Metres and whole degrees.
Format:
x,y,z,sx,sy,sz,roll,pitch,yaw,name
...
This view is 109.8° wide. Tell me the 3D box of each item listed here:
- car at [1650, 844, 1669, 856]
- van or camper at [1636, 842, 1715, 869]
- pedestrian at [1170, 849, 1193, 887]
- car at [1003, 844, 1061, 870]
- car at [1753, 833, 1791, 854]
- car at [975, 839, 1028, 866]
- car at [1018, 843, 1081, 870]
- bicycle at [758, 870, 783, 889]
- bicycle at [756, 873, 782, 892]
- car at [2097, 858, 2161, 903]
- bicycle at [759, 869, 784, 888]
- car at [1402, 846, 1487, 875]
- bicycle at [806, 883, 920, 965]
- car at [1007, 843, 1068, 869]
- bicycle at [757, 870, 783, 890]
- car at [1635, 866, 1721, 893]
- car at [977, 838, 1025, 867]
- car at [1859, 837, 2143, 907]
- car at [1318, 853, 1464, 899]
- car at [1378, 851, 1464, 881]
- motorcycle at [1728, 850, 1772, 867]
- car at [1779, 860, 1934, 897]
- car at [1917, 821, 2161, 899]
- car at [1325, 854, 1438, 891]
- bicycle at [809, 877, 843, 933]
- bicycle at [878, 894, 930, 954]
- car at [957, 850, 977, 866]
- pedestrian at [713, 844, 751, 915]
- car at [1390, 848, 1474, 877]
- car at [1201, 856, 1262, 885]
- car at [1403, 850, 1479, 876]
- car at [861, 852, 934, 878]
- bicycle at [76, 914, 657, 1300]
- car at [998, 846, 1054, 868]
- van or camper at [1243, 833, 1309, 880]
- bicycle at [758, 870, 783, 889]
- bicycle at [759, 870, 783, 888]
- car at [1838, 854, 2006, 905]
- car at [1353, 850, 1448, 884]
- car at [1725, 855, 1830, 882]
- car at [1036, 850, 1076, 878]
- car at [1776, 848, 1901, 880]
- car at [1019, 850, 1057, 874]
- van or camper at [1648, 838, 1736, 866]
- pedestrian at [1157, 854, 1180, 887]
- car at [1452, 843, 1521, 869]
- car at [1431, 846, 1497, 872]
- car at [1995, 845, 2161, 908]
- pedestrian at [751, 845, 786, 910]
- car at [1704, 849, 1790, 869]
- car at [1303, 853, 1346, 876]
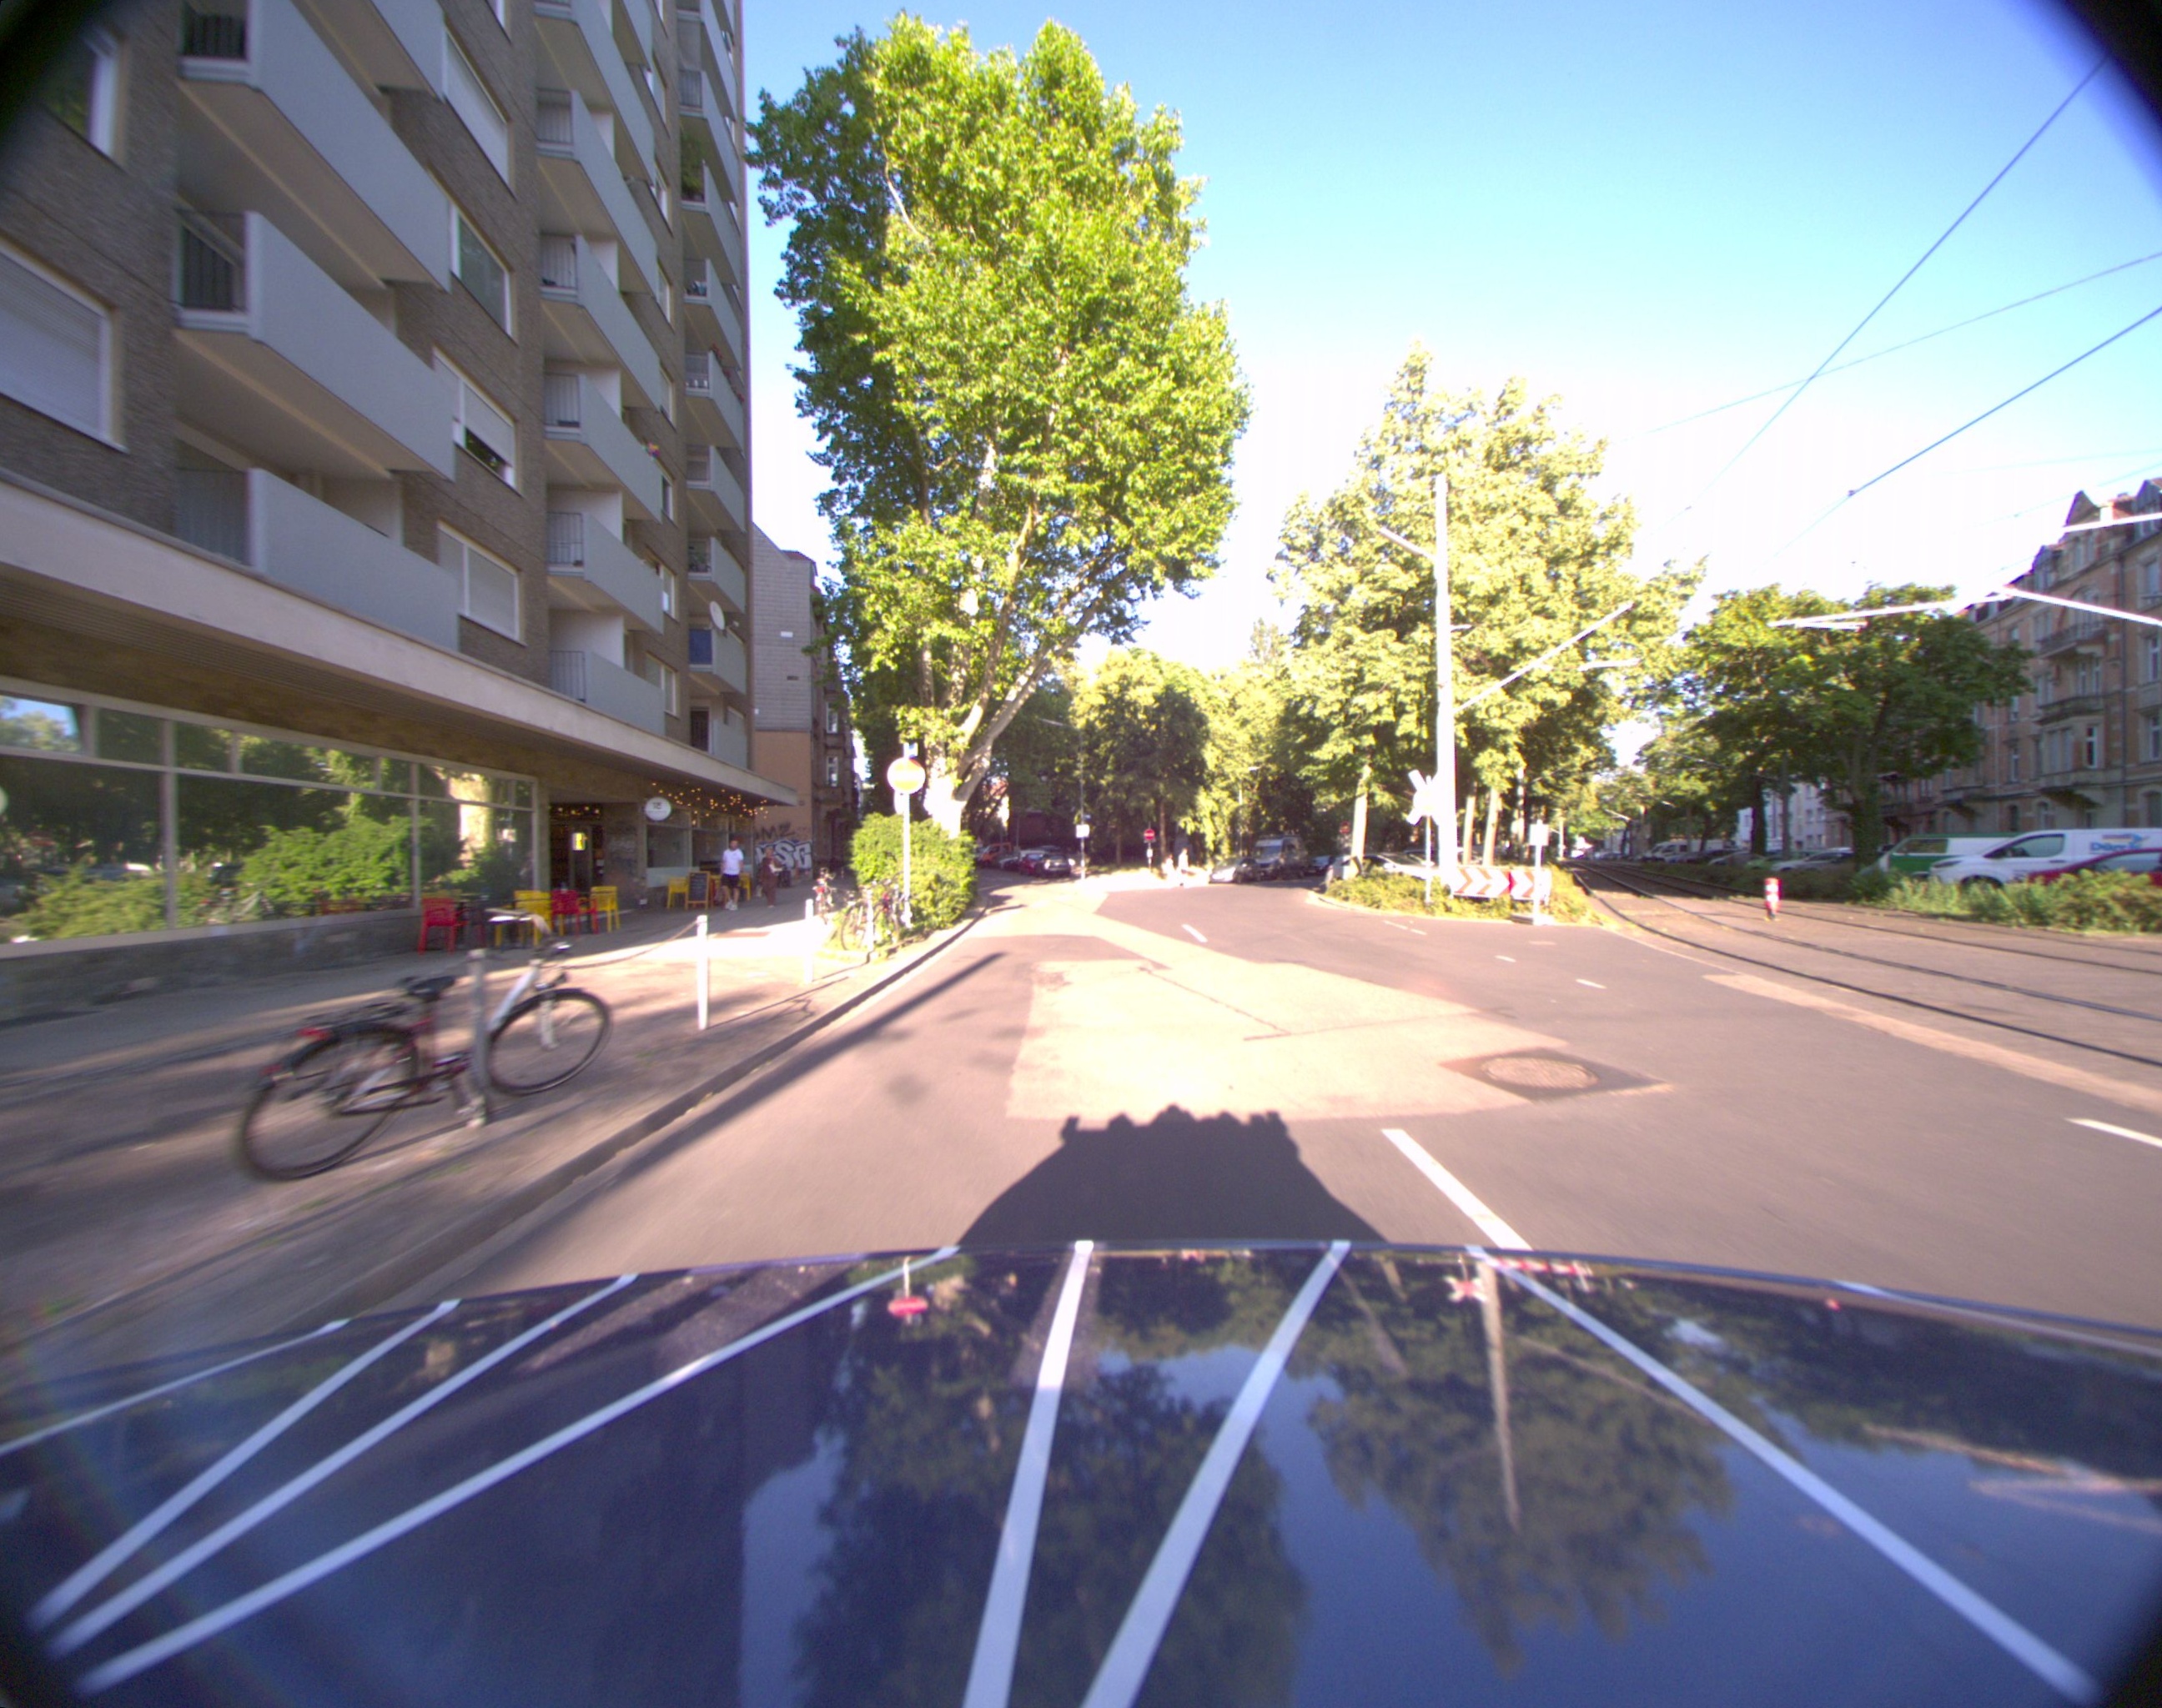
x,y,z,sx,sy,sz,roll,pitch,yaw,name
100.200,-0.741,131.632,1.995,2.002,4.007,0,0,28,car
58.026,0.113,74.268,2.004,2.454,5.662,0,1,-33,van or camper
4.749,0.631,35.779,0.812,1.771,0.718,1,1,38,pedestrian
-4.015,0.224,61.548,4.402,1.766,1.784,-4,1,-11,car
68.400,-1.068,75.249,1.994,2.002,4.008,0,1,31,car
-7.429,-0.151,70.798,4.644,2.399,1.604,0,1,-17,car
-2.346,0.211,56.290,4.402,1.698,1.732,-4,1,-11,car
-12.540,1.023,30.718,0.896,0.737,0.272,-1,1,-17,bicycle
-12.233,1.105,29.784,0.896,0.737,0.272,-1,1,-17,bicycle
39.220,0.928,27.269,1.852,1.510,4.067,0,0,31,car
-12.763,1.016,31.330,0.896,0.737,0.272,-1,1,-17,bicycle
24.748,0.479,51.947,1.990,1.770,4.992,-2,-1,-29,car
-3.211,0.996,11.412,0.639,1.016,2.090,0,0,16,bicycle
-3.402,0.142,58.773,4.402,1.766,1.784,-4,1,-11,car
-12.316,1.031,30.091,0.896,0.737,0.272,-1,1,-17,bicycle
39.323,1.641,50.106,2.003,1.569,3.990,0,1,-32,car
-8.231,-0.141,78.349,4.644,2.950,1.604,0,1,-17,car
25.835,0.437,21.579,2.088,1.754,4.825,0,0,-29,car
10.617,0.757,26.277,1.778,1.421,4.283,-2,0,-40,car
18.436,0.660,41.400,1.835,1.430,3.864,-2,-1,-32,car
37.919,0.263,43.083,1.022,0.949,1.722,0,0,-37,motorcycle
32.555,0.984,32.052,1.596,1.373,4.280,0,0,-26,car
24.493,0.132,18.692,2.089,1.754,5.046,0,0,-35,car
12.551,0.785,31.861,1.778,1.356,3.975,-2,-2,-41,car
-5.037,0.989,15.034,0.349,1.032,1.052,0,0,-1,bicycle
-3.112,1.210,13.466,0.544,0.899,1.735,0,0,-1,bicycle
-11.778,0.389,78.402,1.608,1.459,3.994,1,1,-14,car
-8.857,0.628,19.286,0.686,1.763,0.635,0,1,-5,pedestrian
21.701,0.565,47.099,1.944,1.616,4.350,-2,-1,-29,car
8.295,0.889,41.642,1.681,1.437,3.880,-3,-1,37,car
23.343,0.611,49.374,1.773,1.450,4.152,-2,-1,-29,car
-10.874,0.655,44.903,4.004,1.464,1.732,2,0,-20,car
-3.249,0.999,3.832,0.639,1.219,2.090,0,0,16,bicycle
-4.636,0.242,63.678,4.402,1.484,1.784,-4,1,-11,car
12.105,0.142,46.875,2.085,2.746,5.857,0,0,34,van or camper
-12.427,1.027,30.397,0.896,0.737,0.272,-1,1,-17,bicycle
-12.657,1.020,31.022,0.896,0.737,0.272,-1,1,-17,bicycle
29.379,0.822,26.671,1.663,1.630,3.642,0,0,-27,car
15.352,0.669,36.691,1.835,1.484,3.877,-2,-1,-30,car
36.737,0.730,40.164,1.710,1.373,3.729,0,0,-31,car
-1.591,0.548,46.347,1.742,1.543,4.272,-3,1,-11,car
34.301,0.412,34.507,1.730,1.373,3.729,0,0,-32,car
-2.959,0.515,51.536,1.745,1.441,4.639,-2,1,-14,car
53.549,-0.192,66.726,2.311,2.357,5.538,0,1,-30,van or camper
4.337,0.815,37.714,0.812,1.598,0.718,1,-1,38,pedestrian
38.411,0.236,72.126,2.084,2.124,5.504,-2,-1,-27,car
28.449,0.417,56.574,1.885,1.770,4.155,-2,-1,-20,car
23.026,0.468,16.673,1.719,1.321,3.624,0,0,-34,car
-8.295,0.616,20.174,0.686,1.682,0.644,0,1,-5,pedestrian
43.480,0.308,49.694,1.597,1.310,3.989,0,0,-37,car
17.408,0.720,54.230,1.681,1.517,4.499,0,0,34,car
